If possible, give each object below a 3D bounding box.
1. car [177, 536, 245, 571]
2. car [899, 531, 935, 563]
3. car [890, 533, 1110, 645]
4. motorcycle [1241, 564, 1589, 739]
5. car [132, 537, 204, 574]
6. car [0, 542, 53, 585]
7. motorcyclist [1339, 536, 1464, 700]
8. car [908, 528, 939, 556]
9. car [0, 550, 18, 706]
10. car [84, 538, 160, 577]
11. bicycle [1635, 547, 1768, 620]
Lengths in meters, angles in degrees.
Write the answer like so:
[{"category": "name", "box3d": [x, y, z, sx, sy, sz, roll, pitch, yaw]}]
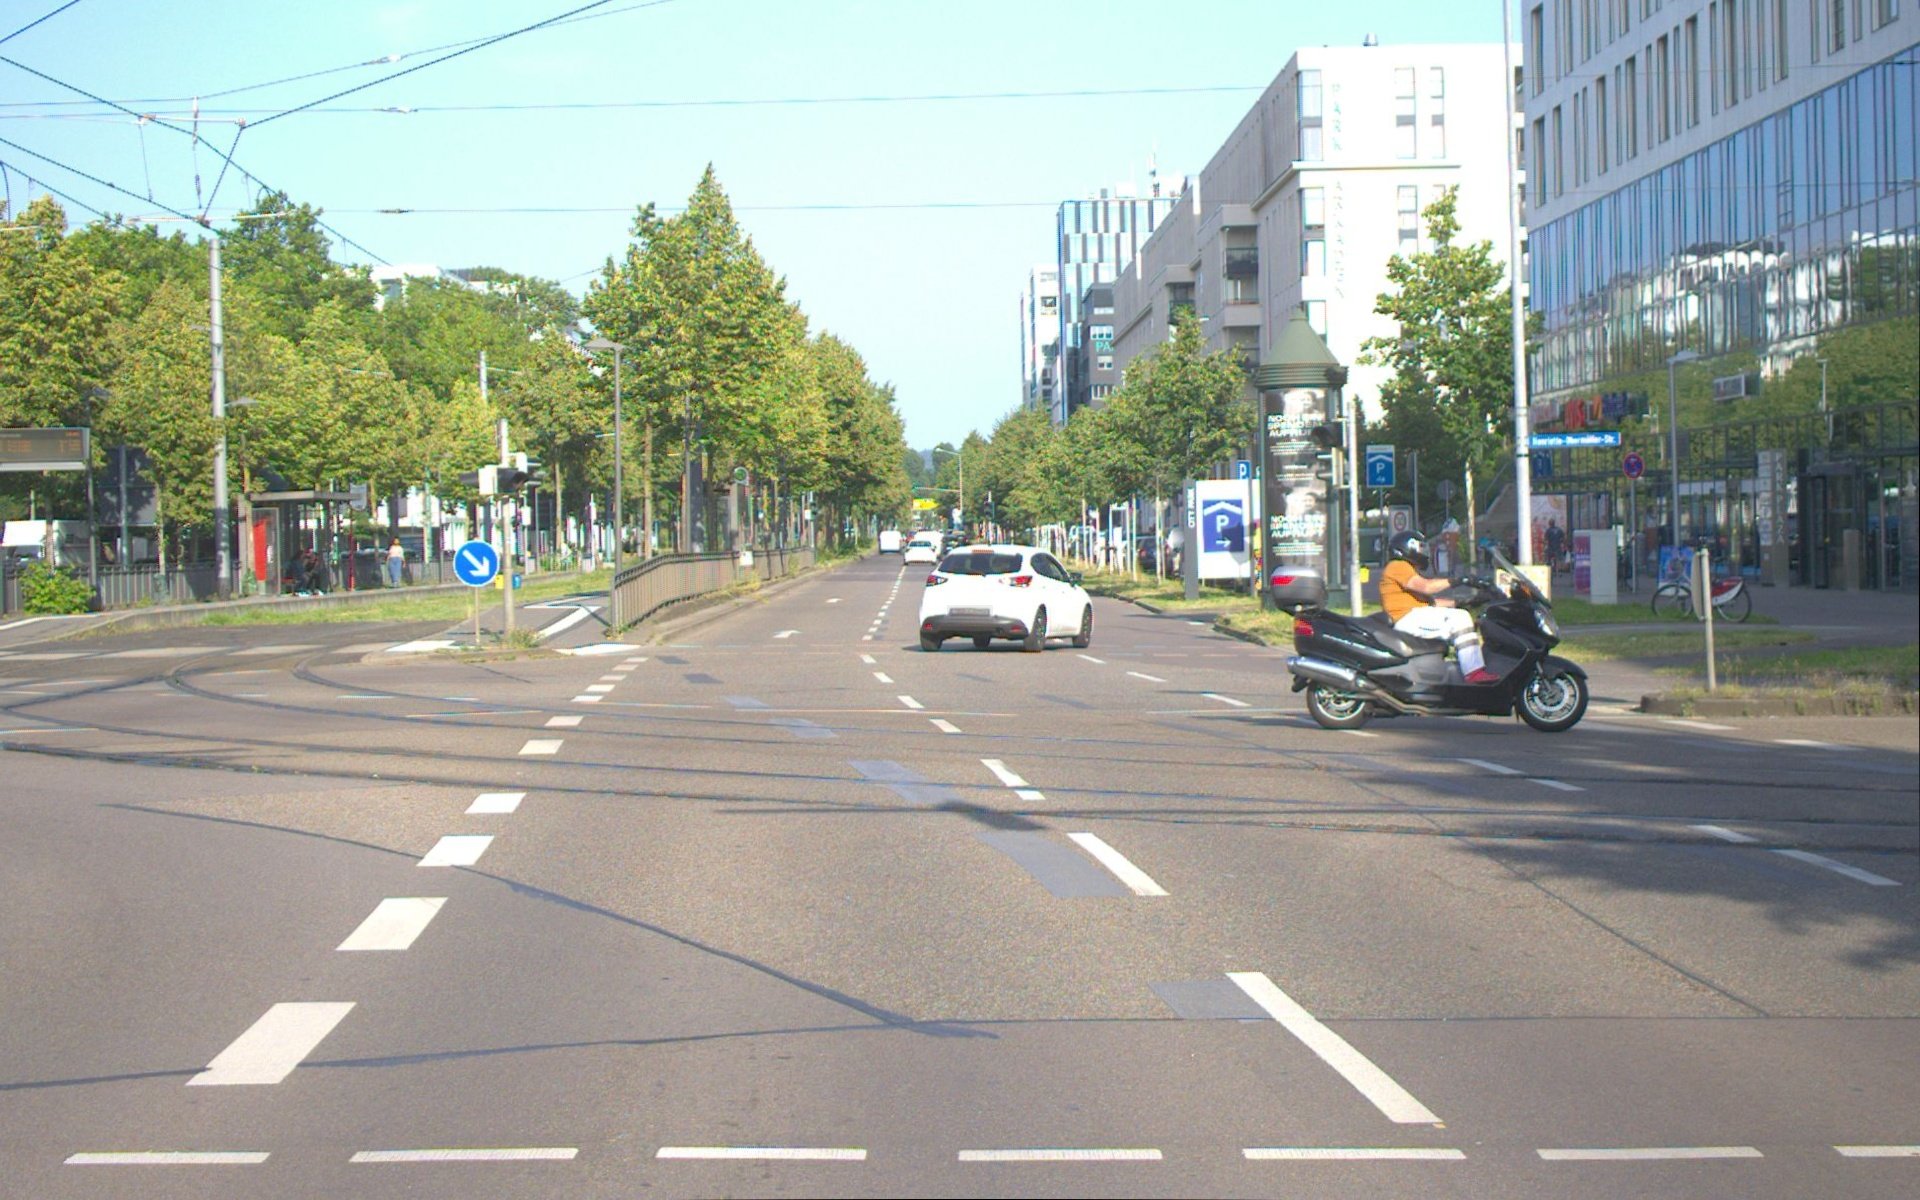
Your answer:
[{"category": "car", "box3d": [-33.947, -2.121, 155.937, 1.881, 1.554, 3.999, -1, 1, 5]}, {"category": "car", "box3d": [-2.290, -2.850, 184.272, 1.864, 1.678, 4.000, 1, 2, 0]}, {"category": "car", "box3d": [0.614, -0.179, 48.577, 1.995, 1.499, 4.089, 1, 1, 18]}, {"category": "motorcycle", "box3d": [3.447, 0.373, 26.007, 2.542, 1.259, 0.821, 1, 1, 13]}, {"category": "car", "box3d": [-34.419, -1.949, 149.514, 1.881, 1.554, 3.999, -1, 1, 5]}, {"category": "car", "box3d": [-35.695, -1.373, 129.096, 1.881, 1.554, 3.999, -1, 1, 5]}, {"category": "motorcyclist", "box3d": [3.350, 0.125, 26.030, 0.845, 1.198, 0.784, 1, 1, 13]}, {"category": "car", "box3d": [-2.287, -3.627, 215.521, 1.864, 1.678, 4.000, 1, 2, 0]}, {"category": "car", "box3d": [-11.113, 0.259, 33.293, 4.571, 1.456, 1.730, 1, 2, 44]}, {"category": "car", "box3d": [-35.033, -1.794, 143.755, 1.881, 1.554, 3.999, -1, 1, 5]}, {"category": "bicycle", "box3d": [11.418, -0.265, 52.981, 0.771, 1.028, 1.878, -2, 4, -44]}]
